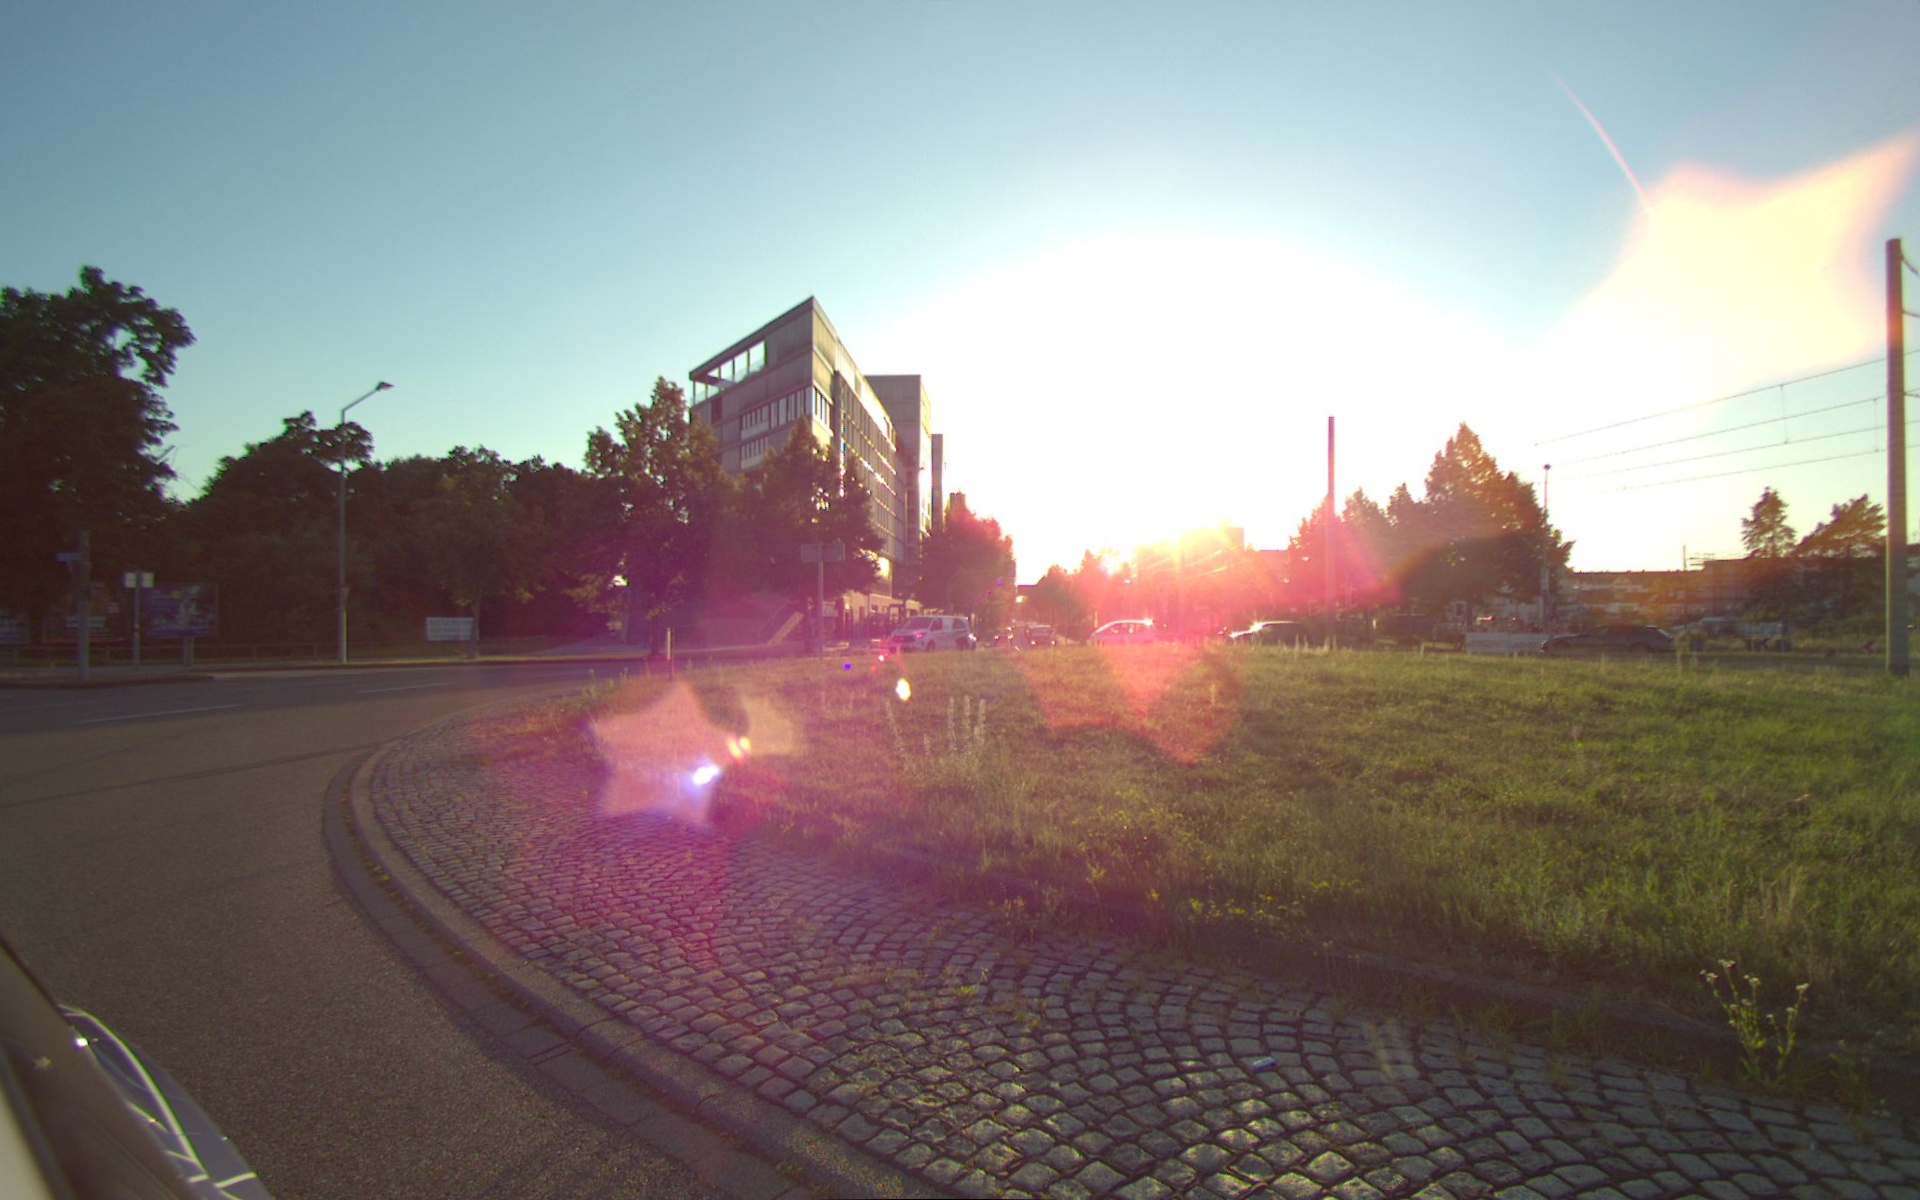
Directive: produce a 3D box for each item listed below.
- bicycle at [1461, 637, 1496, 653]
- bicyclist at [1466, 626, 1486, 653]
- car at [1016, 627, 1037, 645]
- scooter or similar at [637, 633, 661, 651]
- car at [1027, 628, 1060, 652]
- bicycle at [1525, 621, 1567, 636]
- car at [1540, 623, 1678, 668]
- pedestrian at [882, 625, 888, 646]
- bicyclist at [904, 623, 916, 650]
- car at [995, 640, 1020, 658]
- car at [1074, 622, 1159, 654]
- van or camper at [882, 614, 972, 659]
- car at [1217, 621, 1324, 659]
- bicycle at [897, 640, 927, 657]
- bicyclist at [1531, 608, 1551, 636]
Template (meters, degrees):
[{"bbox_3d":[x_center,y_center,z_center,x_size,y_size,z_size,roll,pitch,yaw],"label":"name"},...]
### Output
[{"bbox_3d":[32.111,2.767,62.635,1.821,0.988,0.548,-1,-2,7],"label":"bicycle"},{"bbox_3d":[31.929,2.468,62.633,0.805,1.653,0.813,-1,-2,7],"label":"bicyclist"},{"bbox_3d":[6.184,3.346,93.938,1.756,1.633,3.991,0,-1,7],"label":"car"},{"bbox_3d":[-20.953,2.833,68.153,1.562,1.229,0.365,-1,-2,14],"label":"scooter or similar"},{"bbox_3d":[5.671,2.697,68.355,1.727,1.548,3.985,-1,-1,12],"label":"car"},{"bbox_3d":[34.781,1.714,60.114,0.504,0.852,2.140,1,-3,-37],"label":"bicycle"},{"bbox_3d":[26.901,1.867,42.036,4.596,1.761,1.727,-2,-3,42],"label":"car"},{"bbox_3d":[-7.522,3.524,100.907,0.532,2.029,0.527,-1,-2,3],"label":"pedestrian"},{"bbox_3d":[-3.141,2.288,63.228,0.674,1.660,0.685,0,-2,-6],"label":"bicyclist"},{"bbox_3d":[4.195,4.322,89.192,1.726,1.450,3.987,-1,-1,10],"label":"car"},{"bbox_3d":[7.322,1.789,47.503,3.654,1.476,1.608,0,-2,-5],"label":"car"},{"bbox_3d":[-1.485,1.676,47.669,1.990,1.972,5.281,-1,-1,26],"label":"van or camper"},{"bbox_3d":[14.618,1.883,47.884,4.539,1.761,1.749,0,-2,5],"label":"car"},{"bbox_3d":[-2.986,3.016,63.018,1.834,1.030,0.308,0,-2,-6],"label":"bicycle"},{"bbox_3d":[34.590,1.314,60.259,0.684,1.646,0.800,1,-3,-37],"label":"bicyclist"}]
